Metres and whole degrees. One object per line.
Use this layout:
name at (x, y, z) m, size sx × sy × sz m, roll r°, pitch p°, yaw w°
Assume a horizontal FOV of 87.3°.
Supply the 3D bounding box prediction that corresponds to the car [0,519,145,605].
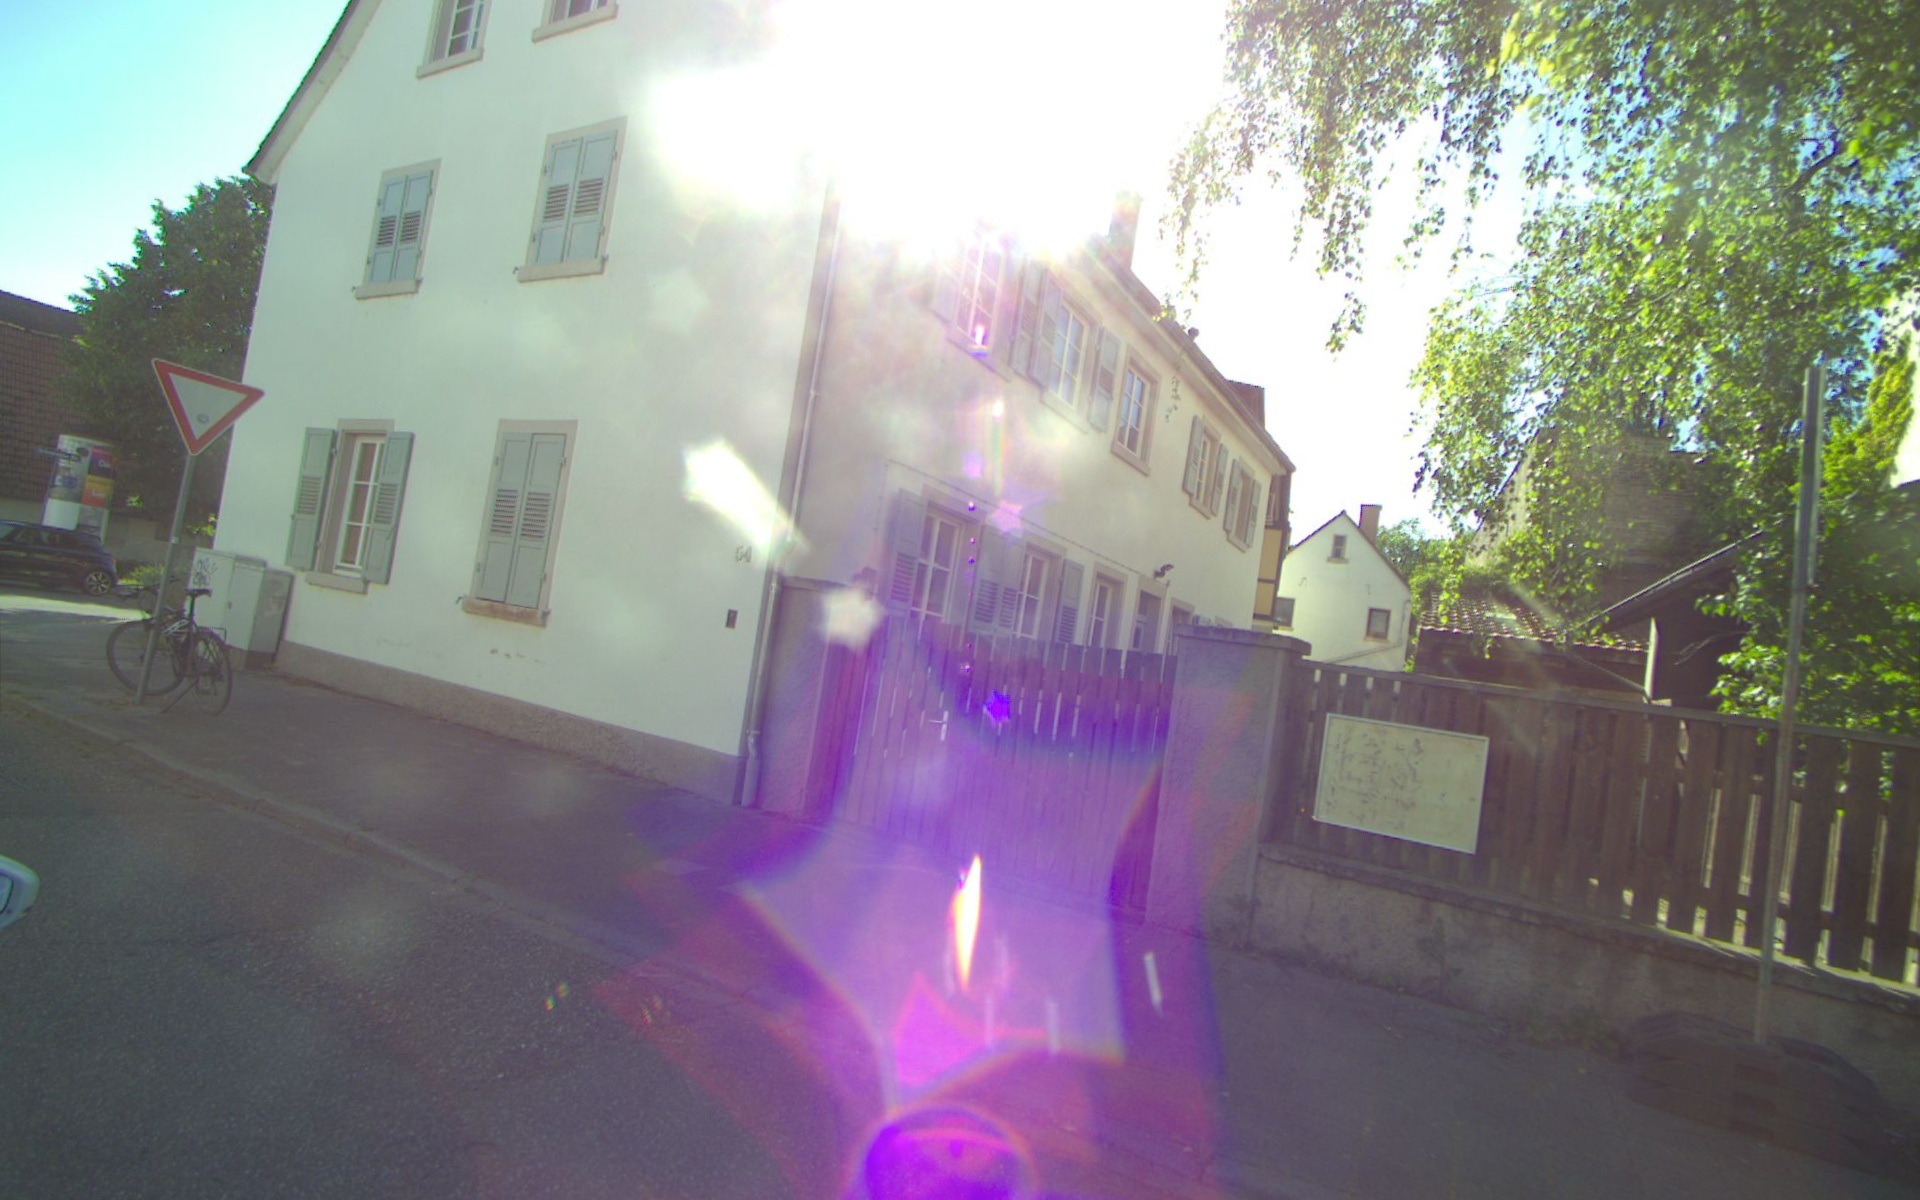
car at (-20.916, -0.971, 22.315) m, size 1.634 × 1.492 × 4.009 m, roll 8°, pitch -4°, yaw 18°

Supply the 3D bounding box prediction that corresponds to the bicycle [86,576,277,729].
bicycle at (-6.931, 0.448, 8.936) m, size 1.856 × 1.092 × 0.436 m, roll 7°, pitch -2°, yaw 26°

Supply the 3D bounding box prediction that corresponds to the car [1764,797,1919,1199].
car at (3.531, 1.348, 0.806) m, size 4.213 × 1.451 × 1.814 m, roll 7°, pitch -4°, yaw 30°
